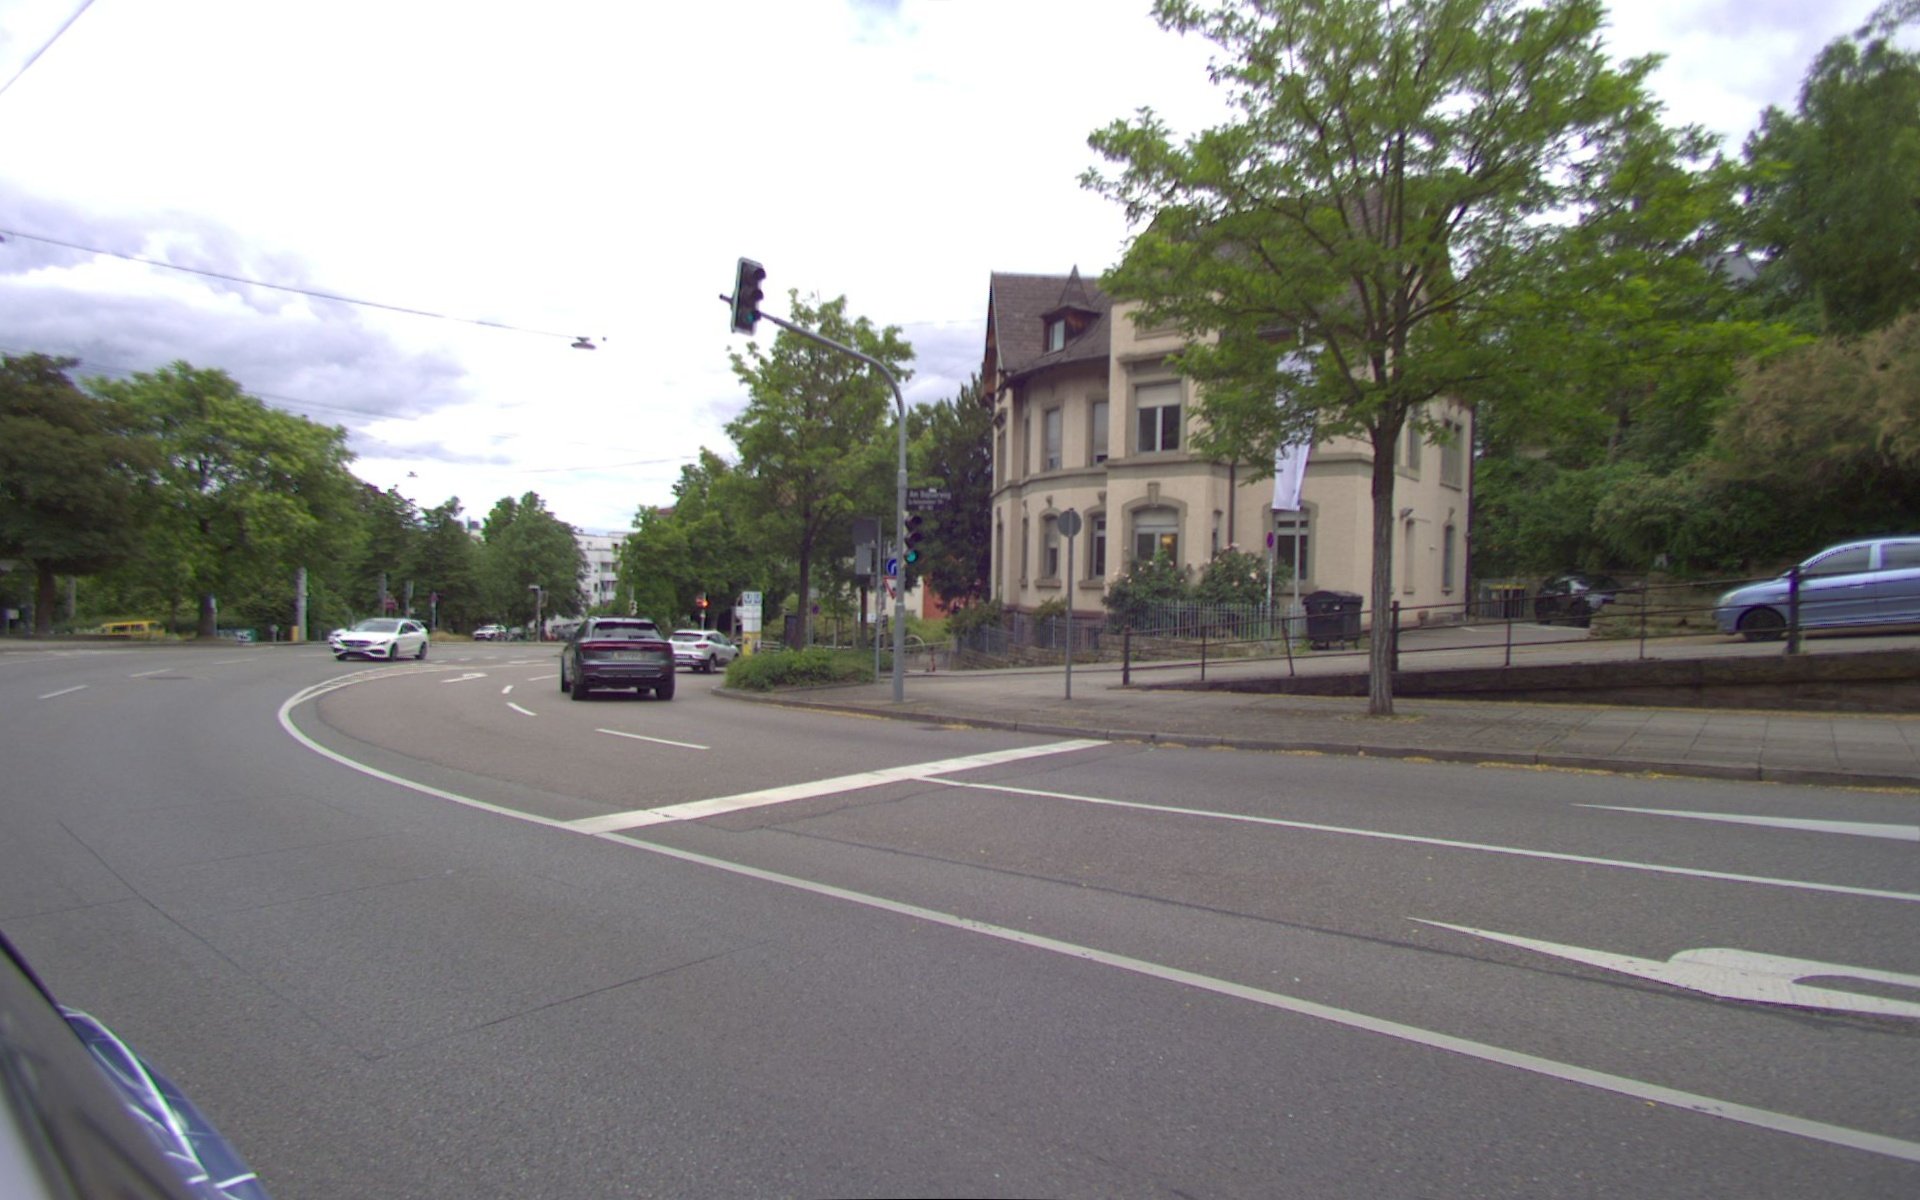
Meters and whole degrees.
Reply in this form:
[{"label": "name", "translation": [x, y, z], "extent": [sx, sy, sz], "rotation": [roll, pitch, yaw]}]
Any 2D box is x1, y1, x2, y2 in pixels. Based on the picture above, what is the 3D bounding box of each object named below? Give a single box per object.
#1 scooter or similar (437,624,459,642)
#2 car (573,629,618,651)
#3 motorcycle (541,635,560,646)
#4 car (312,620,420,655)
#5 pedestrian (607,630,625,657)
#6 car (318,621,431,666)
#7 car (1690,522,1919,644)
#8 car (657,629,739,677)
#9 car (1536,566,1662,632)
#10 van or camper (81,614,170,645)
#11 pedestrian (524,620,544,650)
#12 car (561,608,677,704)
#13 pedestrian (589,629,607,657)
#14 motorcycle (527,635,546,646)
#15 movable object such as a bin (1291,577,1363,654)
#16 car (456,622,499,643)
[{"label": "scooter or similar", "translation": [-37.064, 2.398, 73.301], "extent": [1.299, 1.257, 0.465], "rotation": [3, -4, -39]}, {"label": "car", "translation": [-36.861, 4.069, 102.518], "extent": [3.739, 2.029, 1.997], "rotation": [1, -3, 4]}, {"label": "motorcycle", "translation": [-40.424, 3.986, 99.856], "extent": [0.747, 1.041, 2.049], "rotation": [1, -3, 9]}, {"label": "car", "translation": [-25.981, 1.631, 44.443], "extent": [1.879, 1.475, 3.982], "rotation": [-1, -2, 13]}, {"label": "pedestrian", "translation": [-22.309, 2.818, 65.644], "extent": [0.615, 1.725, 0.719], "rotation": [4, -2, 33]}, {"label": "car", "translation": [-20.314, 1.495, 35.354], "extent": [1.968, 1.409, 4.238], "rotation": [2, -2, -9]}, {"label": "car", "translation": [13.952, -0.292, 15.632], "extent": [4.001, 1.586, 1.971], "rotation": [-7, -3, 44]}, {"label": "car", "translation": [-9.922, 2.007, 38.616], "extent": [1.876, 1.667, 4.373], "rotation": [1, -3, 1]}, {"label": "car", "translation": [19.951, 0.029, 31.802], "extent": [1.978, 1.852, 3.986], "rotation": [1, -3, 11]}, {"label": "van or camper", "translation": [-57.610, 2.011, 69.908], "extent": [4.404, 1.992, 1.891], "rotation": [2, -1, -3]}, {"label": "pedestrian", "translation": [-28.074, 2.311, 66.705], "extent": [0.844, 1.901, 0.966], "rotation": [4, -4, -43]}, {"label": "car", "translation": [-7.377, 1.169, 21.601], "extent": [1.869, 1.805, 4.774], "rotation": [2, -3, -24]}, {"label": "pedestrian", "translation": [-23.016, 2.725, 64.272], "extent": [0.615, 1.725, 0.719], "rotation": [4, -2, 33]}, {"label": "motorcycle", "translation": [-41.675, 4.008, 99.701], "extent": [0.747, 1.041, 2.049], "rotation": [1, -3, 9]}, {"label": "movable object such as a bin", "translation": [8.682, 0.353, 23.965], "extent": [1.199, 1.696, 0.999], "rotation": [-5, 2, -34]}, {"label": "car", "translation": [-48.764, 3.313, 102.440], "extent": [1.972, 1.918, 4.712], "rotation": [1, -3, 1]}]
